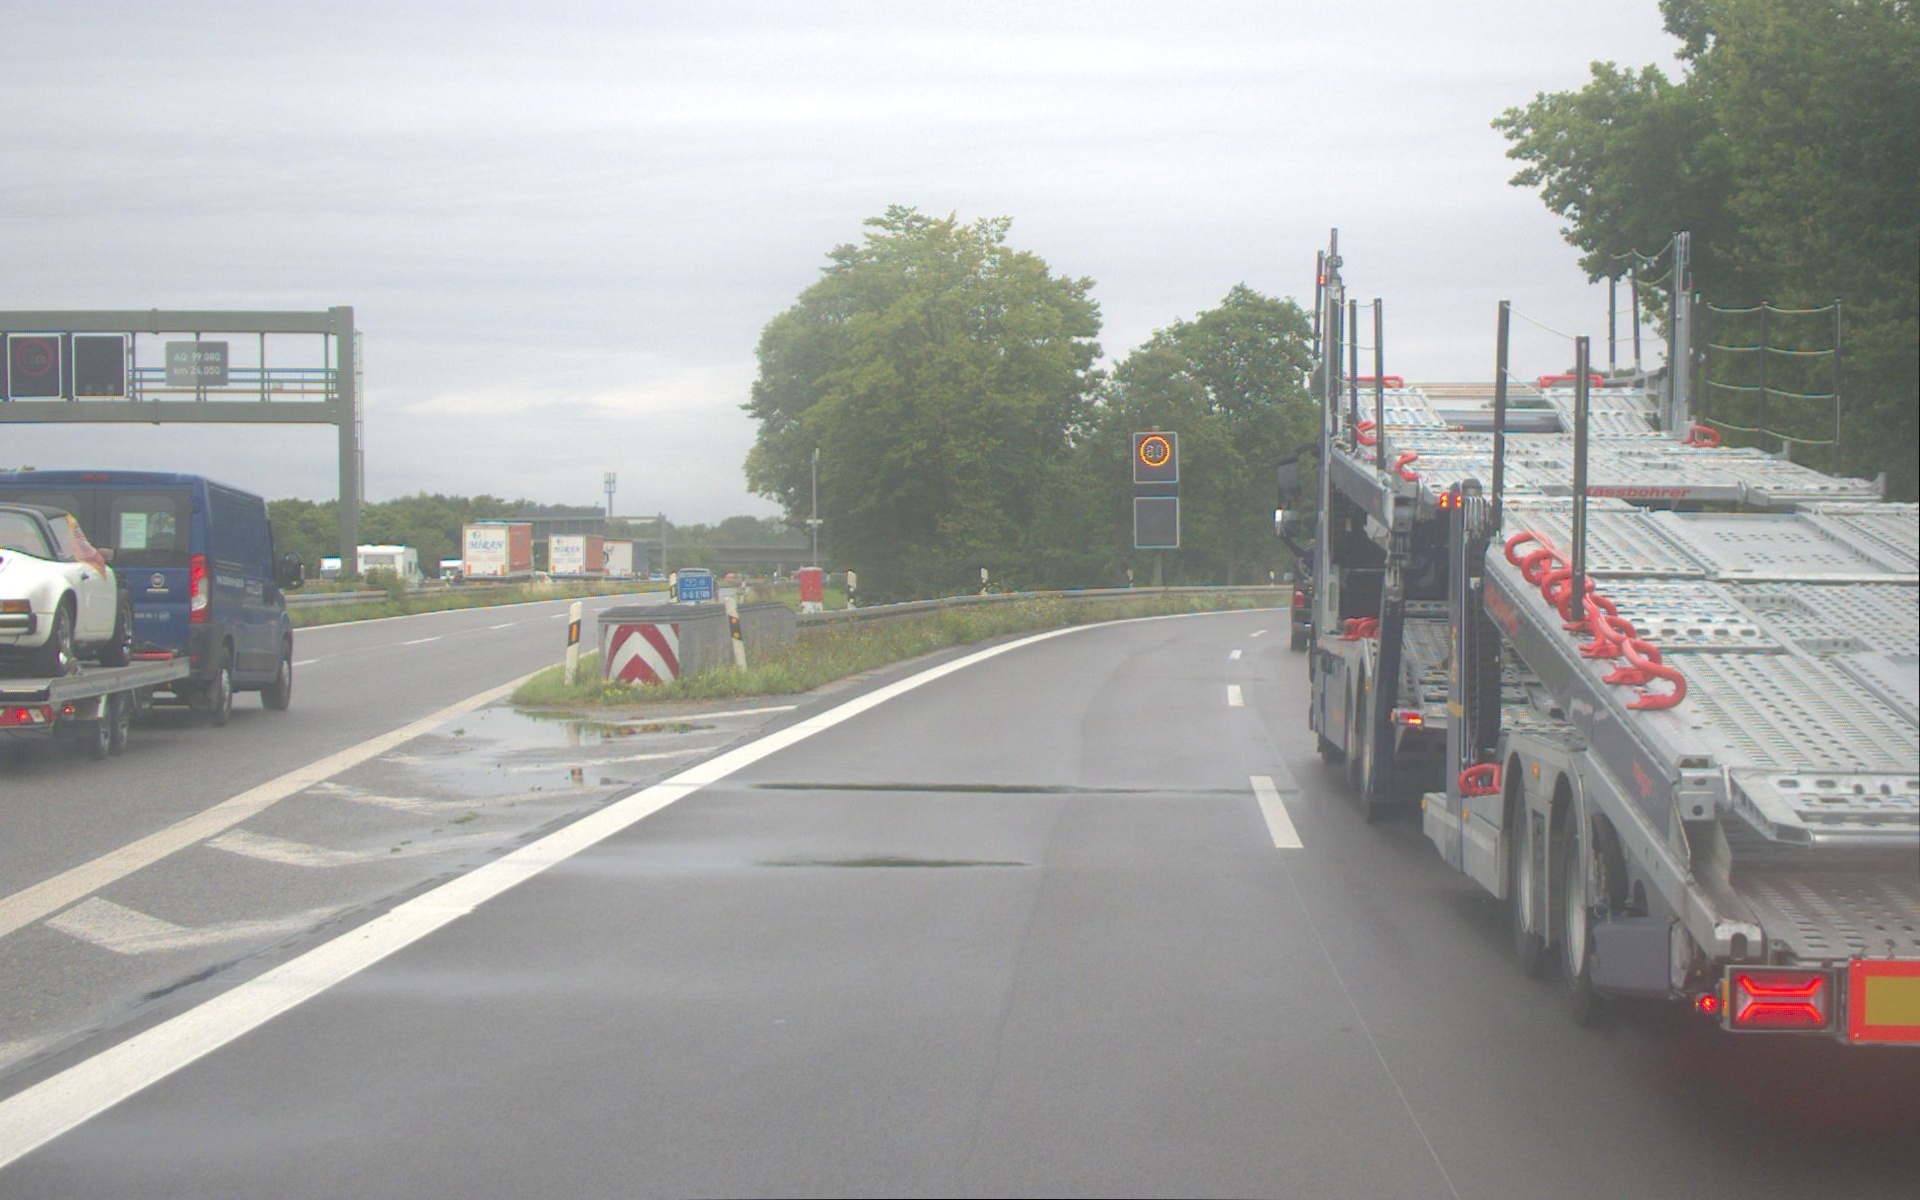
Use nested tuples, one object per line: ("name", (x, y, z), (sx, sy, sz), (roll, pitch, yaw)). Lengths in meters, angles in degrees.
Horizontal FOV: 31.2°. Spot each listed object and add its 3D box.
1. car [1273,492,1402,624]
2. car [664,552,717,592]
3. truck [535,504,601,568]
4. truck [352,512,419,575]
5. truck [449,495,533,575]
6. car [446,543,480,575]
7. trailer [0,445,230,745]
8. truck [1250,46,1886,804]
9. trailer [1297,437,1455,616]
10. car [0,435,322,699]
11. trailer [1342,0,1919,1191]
("car", (6.879, -0.770, 62.163), (2.111, 2.257, 5.894), (0, 1, 8))
("car", (-11.273, -1.166, 144.003), (1.961, 1.632, 5.626), (1, 0, -2))
("truck", (-27.833, -4.537, 244.740), (3.733, 4.402, 11.898), (1, 1, -2))
("truck", (-25.484, -2.521, 152.560), (2.243, 2.695, 5.280), (1, 1, -2))
("truck", (-26.731, -3.708, 196.290), (3.733, 4.402, 10.196), (1, 1, -2))
("car", (-31.982, -2.614, 221.338), (1.729, 2.007, 4.000), (1, 0, -2))
("trailer", (-7.446, -0.103, 26.331), (2.484, 1.988, 7.064), (1, 1, -3))
("truck", (3.624, -1.023, 22.920), (2.739, 3.954, 9.128), (2, 1, 2))
("trailer", (10.415, -1.853, 86.091), (3.450, 3.986, 12.024), (3, 2, 7))
("car", (-7.765, -0.334, 32.965), (2.372, 2.258, 6.257), (1, 1, -3))
("trailer", (3.310, -0.341, 13.147), (2.777, 3.273, 10.407), (1, 1, 2))
